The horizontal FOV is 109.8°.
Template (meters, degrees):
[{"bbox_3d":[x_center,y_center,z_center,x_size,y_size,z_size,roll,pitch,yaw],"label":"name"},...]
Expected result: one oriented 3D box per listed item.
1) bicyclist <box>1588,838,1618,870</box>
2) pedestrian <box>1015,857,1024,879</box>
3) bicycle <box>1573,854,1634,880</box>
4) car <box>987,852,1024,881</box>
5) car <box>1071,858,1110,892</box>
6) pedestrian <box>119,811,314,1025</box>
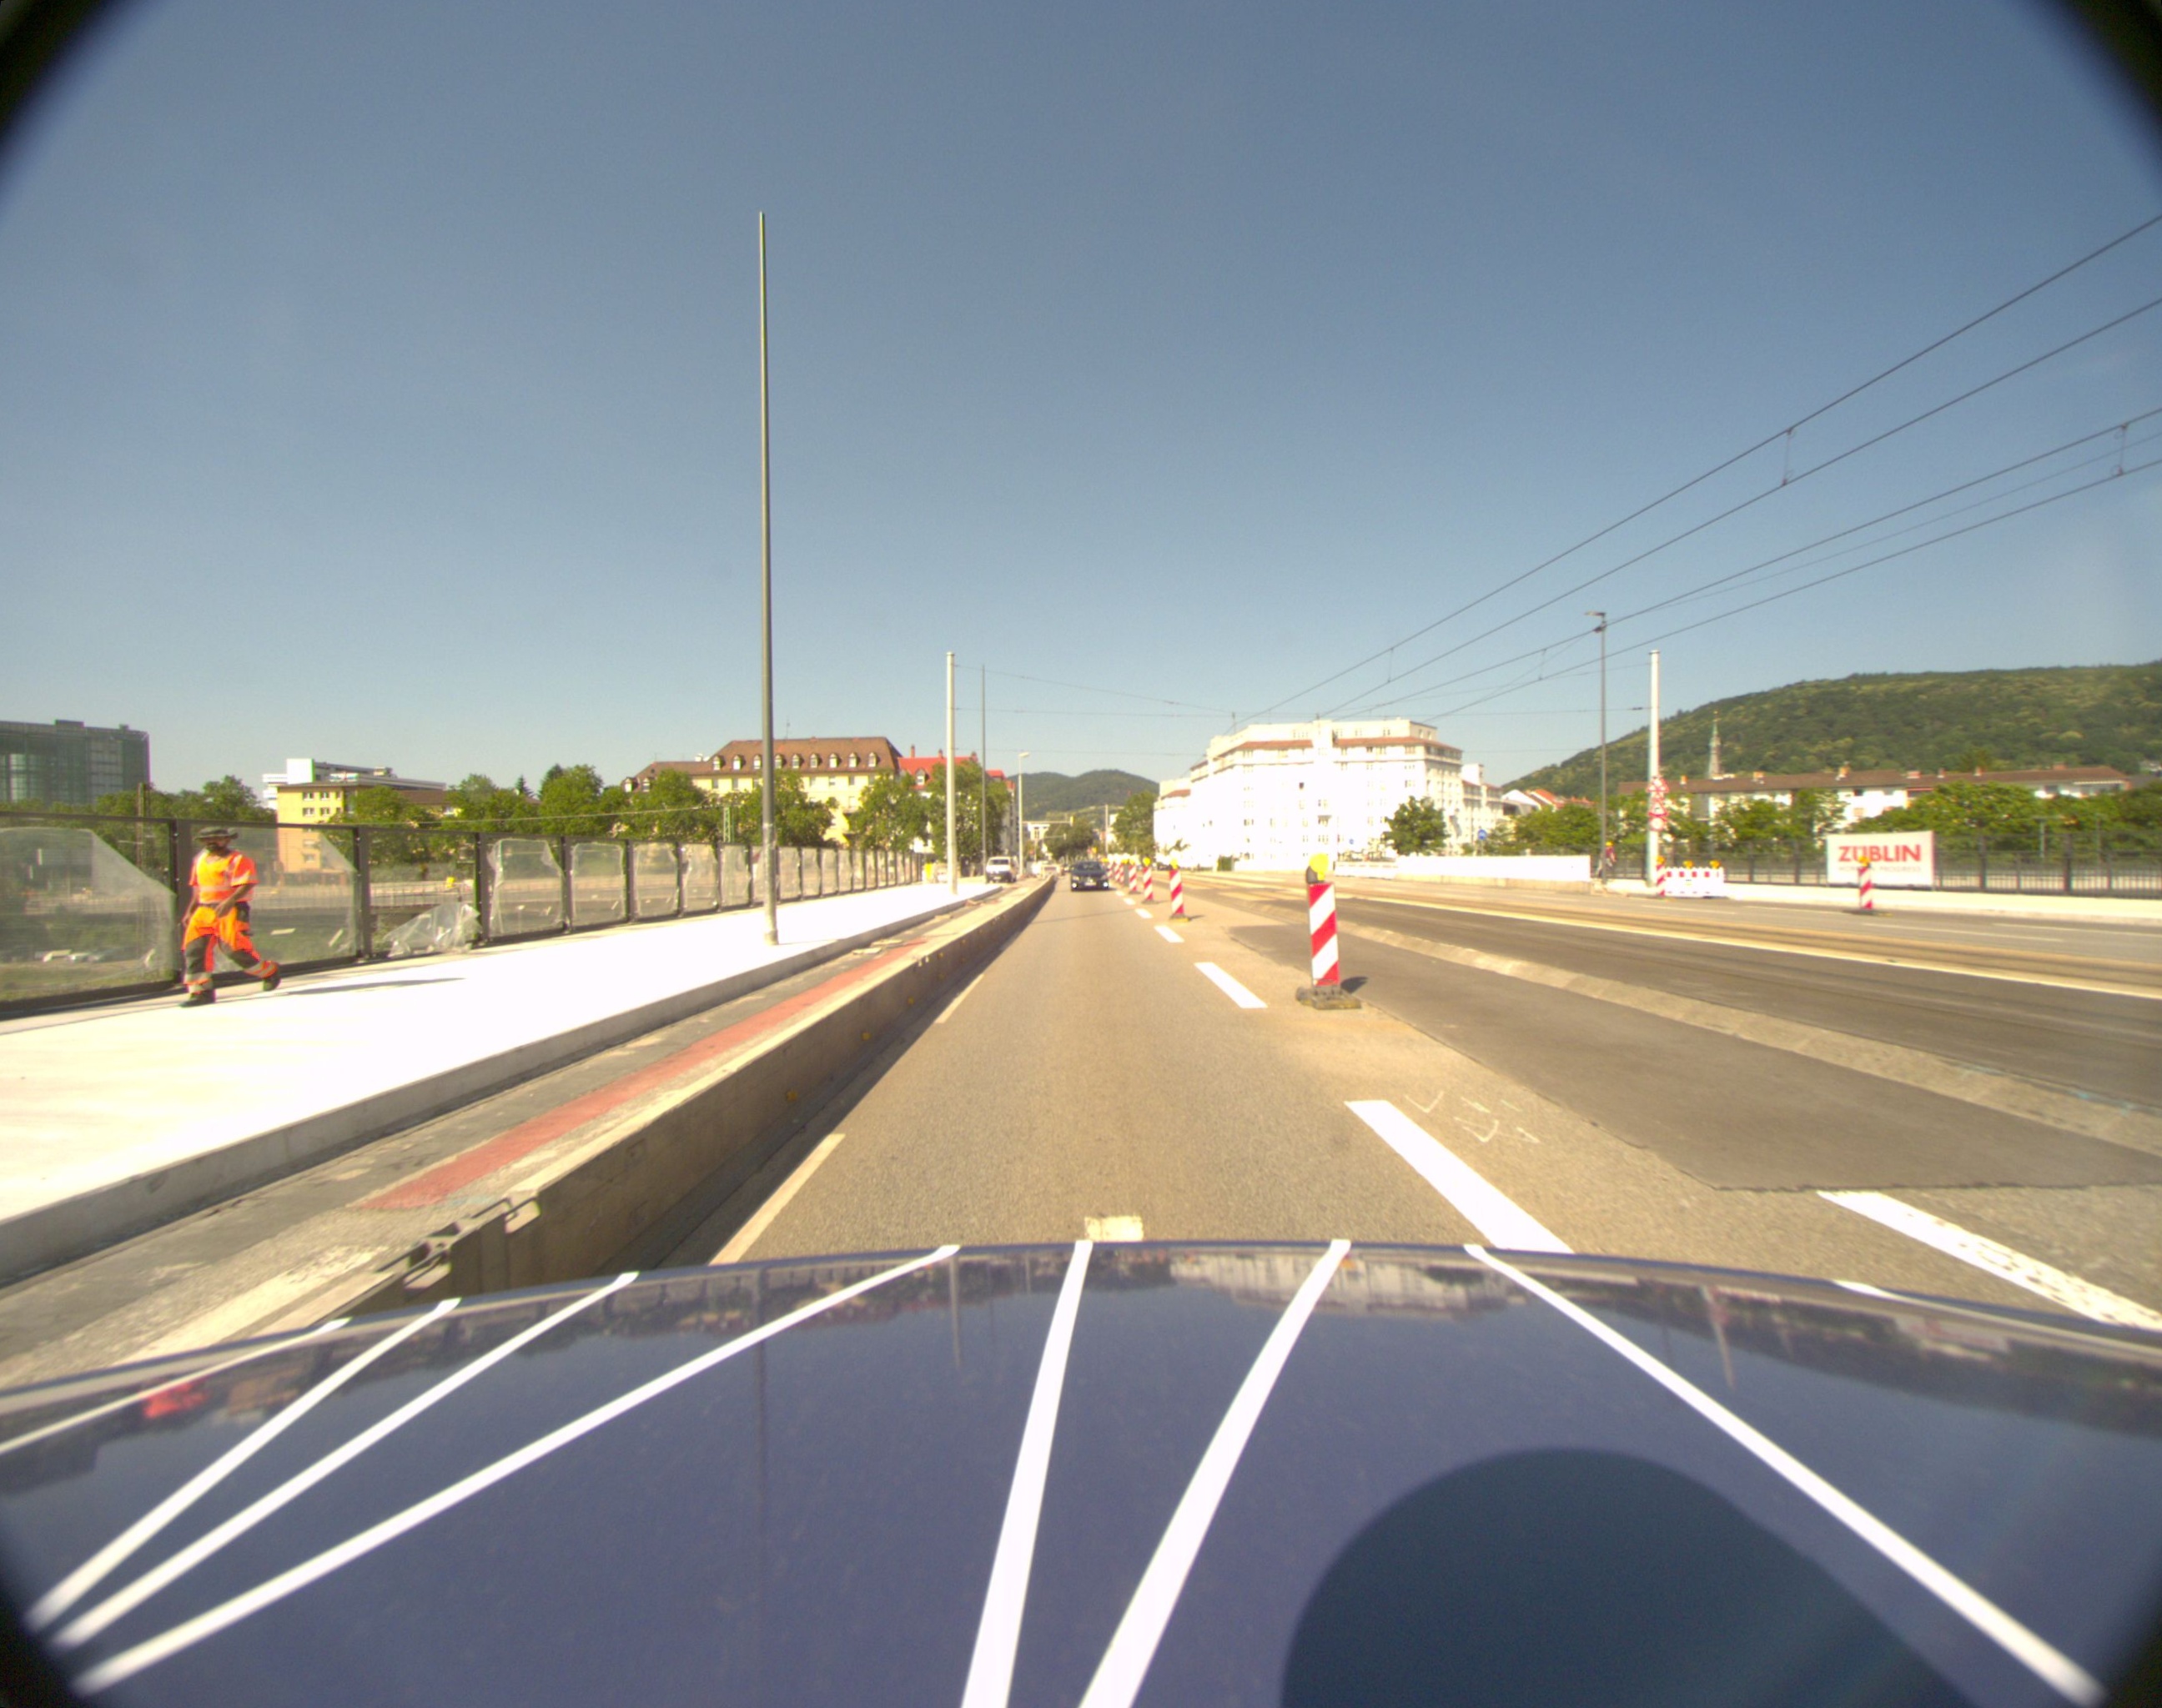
[{"bbox_3d":[25.835,-0.010,37.606,0.858,1.510,0.817,-2,1,-1],"label":"bicyclist"},{"bbox_3d":[-5.641,1.252,69.346,0.761,1.973,0.843,1,1,0],"label":"pedestrian"},{"bbox_3d":[25.847,0.627,37.654,0.858,1.188,3.071,-2,0,0],"label":"bicycle"},{"bbox_3d":[-5.788,0.979,59.107,1.938,2.078,6.471,-1,-1,2],"label":"car"},{"bbox_3d":[0.437,0.984,36.963,1.698,1.388,4.362,-2,1,0],"label":"car"},{"bbox_3d":[-8.415,0.583,7.455,0.733,1.953,1.016,1,1,1],"label":"pedestrian"}]
